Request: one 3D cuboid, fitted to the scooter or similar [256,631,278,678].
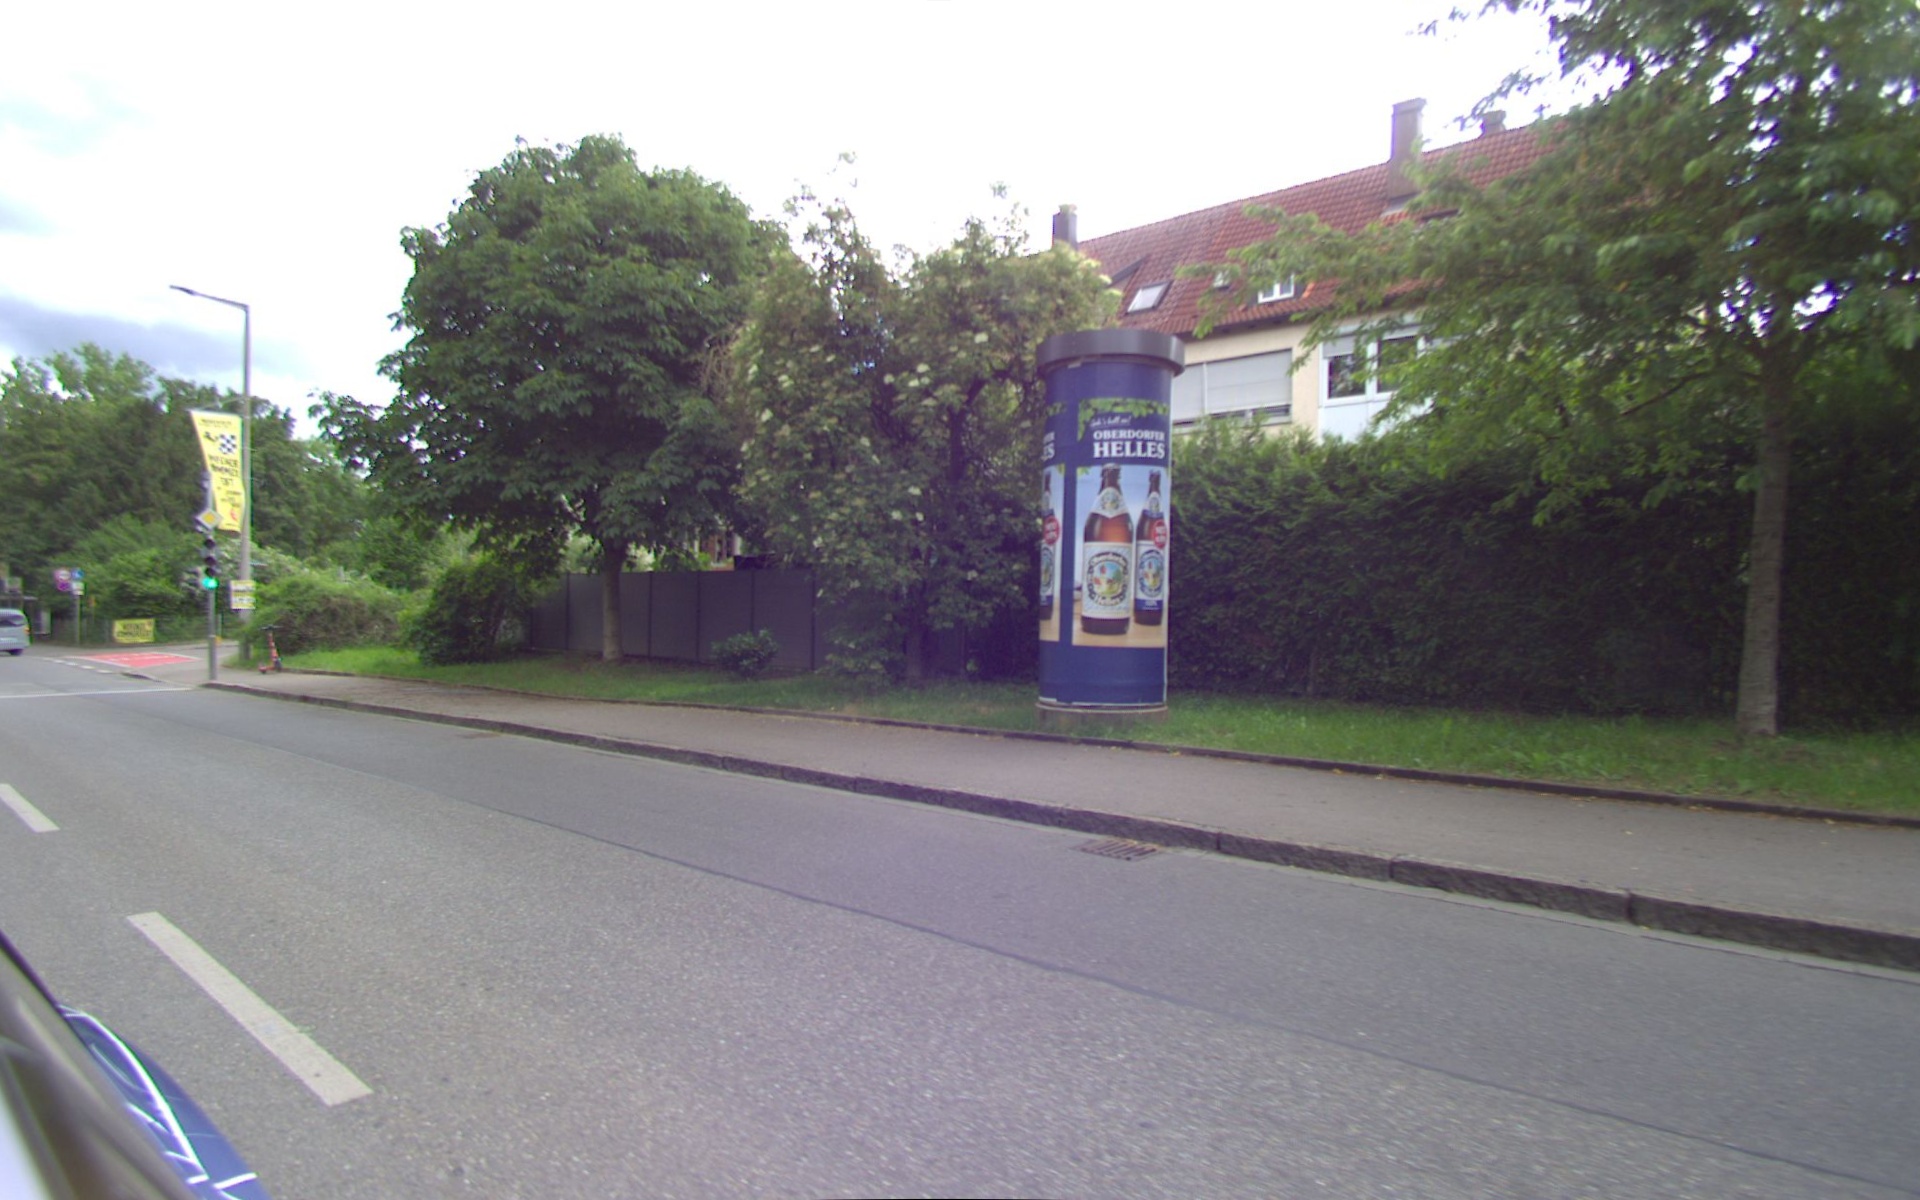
[{"bbox_3d":[-18.307,1.430,26.737,0.250,1.225,1.280,0,-1,-44],"label":"scooter or similar"}]

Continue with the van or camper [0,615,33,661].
[{"bbox_3d":[-41.829,1.614,42.715,4.772,1.914,1.908,-1,-1,18],"label":"van or camper"}]
